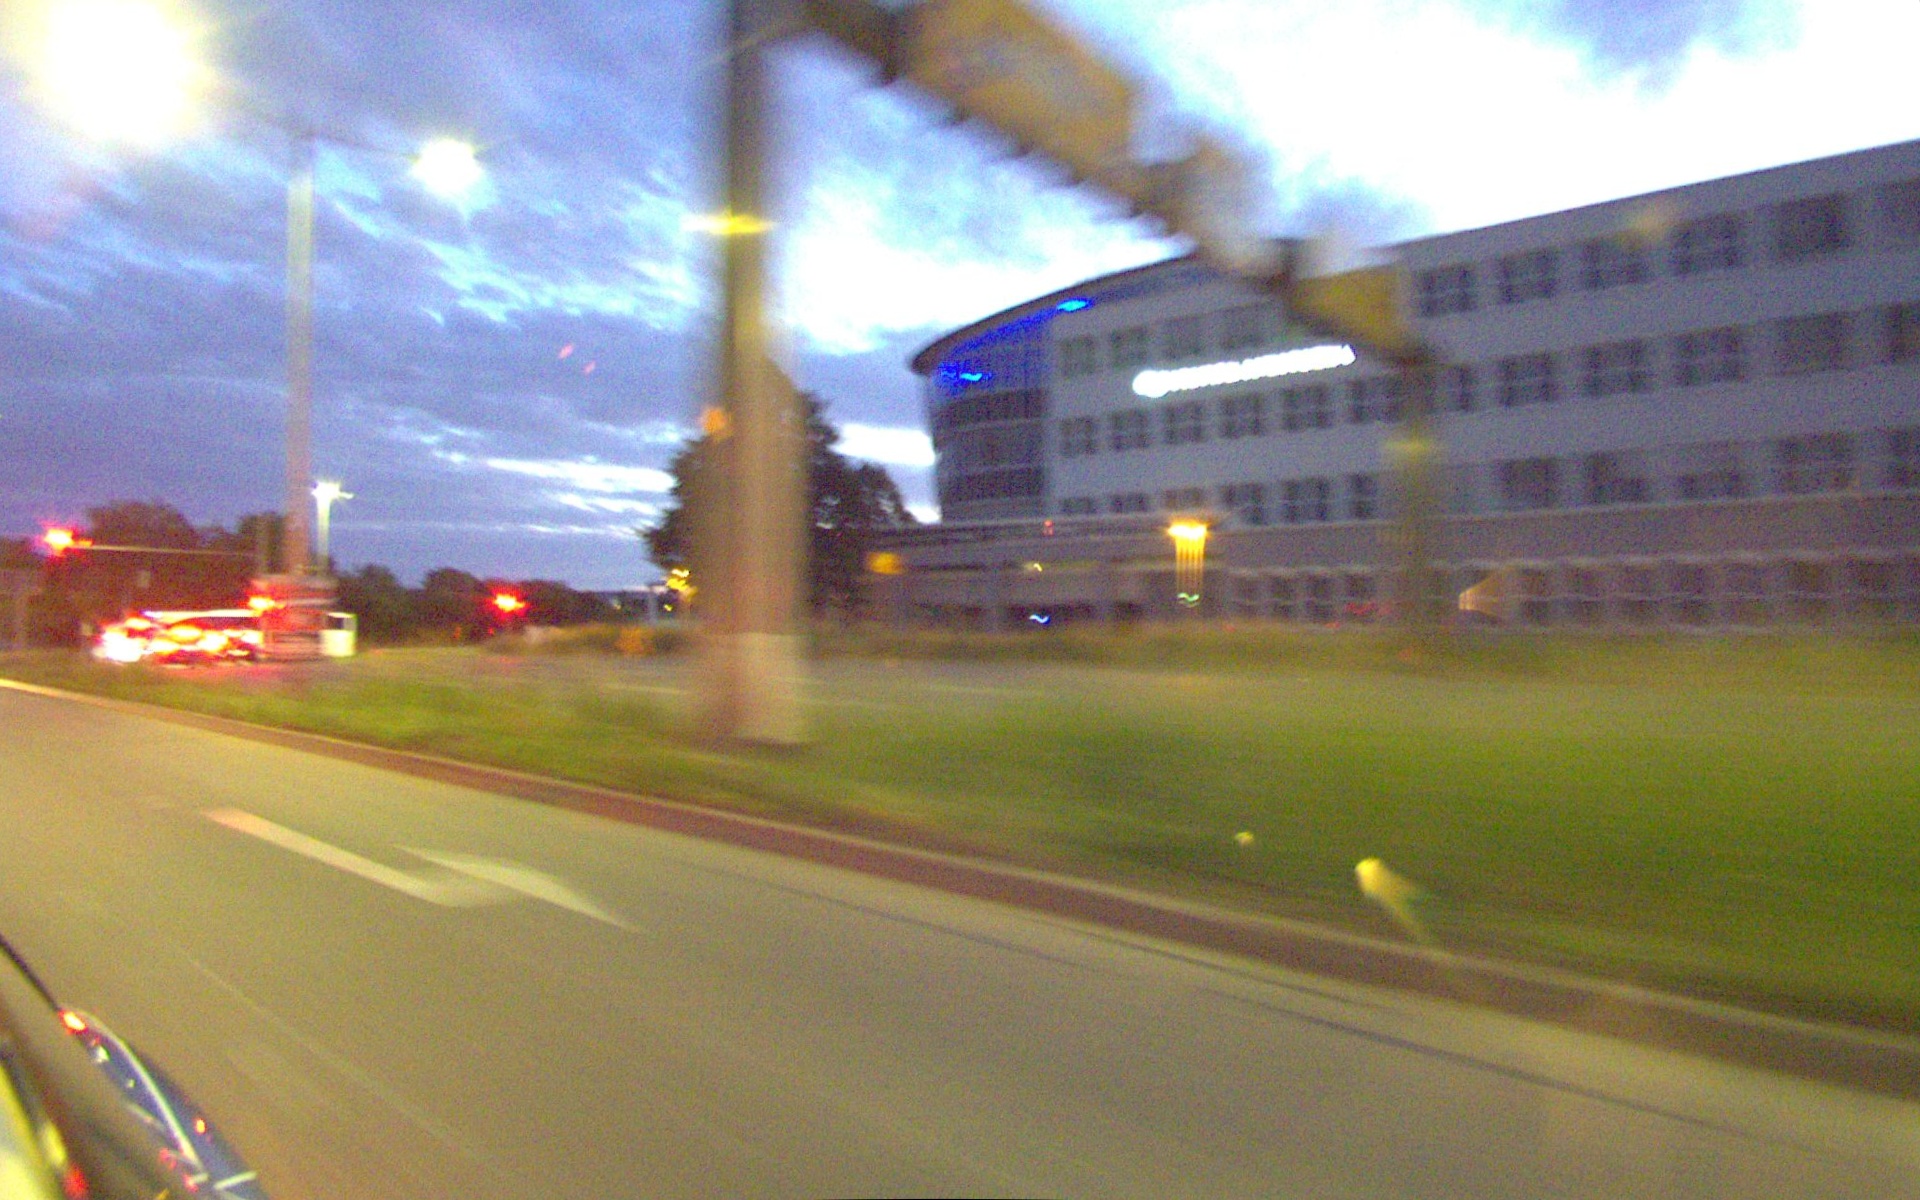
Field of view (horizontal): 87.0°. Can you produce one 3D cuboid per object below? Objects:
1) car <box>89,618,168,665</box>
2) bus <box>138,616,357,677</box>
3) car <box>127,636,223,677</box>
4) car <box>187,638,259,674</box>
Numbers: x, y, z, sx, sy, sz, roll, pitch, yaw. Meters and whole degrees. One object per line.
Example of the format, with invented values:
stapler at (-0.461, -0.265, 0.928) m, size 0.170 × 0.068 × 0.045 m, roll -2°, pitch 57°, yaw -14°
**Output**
car at (-35.029, 1.789, 42.610) m, size 4.772 × 1.828 × 1.824 m, roll -4°, pitch -4°, yaw 41°
bus at (-48.807, 3.118, 69.928) m, size 2.613 × 3.819 × 12.114 m, roll -5°, pitch -4°, yaw 39°
car at (-29.136, 2.078, 37.506) m, size 4.834 × 1.408 × 1.852 m, roll -3°, pitch -3°, yaw 40°
car at (-31.963, 2.445, 43.870) m, size 3.779 × 1.458 × 1.750 m, roll -4°, pitch -4°, yaw 41°
